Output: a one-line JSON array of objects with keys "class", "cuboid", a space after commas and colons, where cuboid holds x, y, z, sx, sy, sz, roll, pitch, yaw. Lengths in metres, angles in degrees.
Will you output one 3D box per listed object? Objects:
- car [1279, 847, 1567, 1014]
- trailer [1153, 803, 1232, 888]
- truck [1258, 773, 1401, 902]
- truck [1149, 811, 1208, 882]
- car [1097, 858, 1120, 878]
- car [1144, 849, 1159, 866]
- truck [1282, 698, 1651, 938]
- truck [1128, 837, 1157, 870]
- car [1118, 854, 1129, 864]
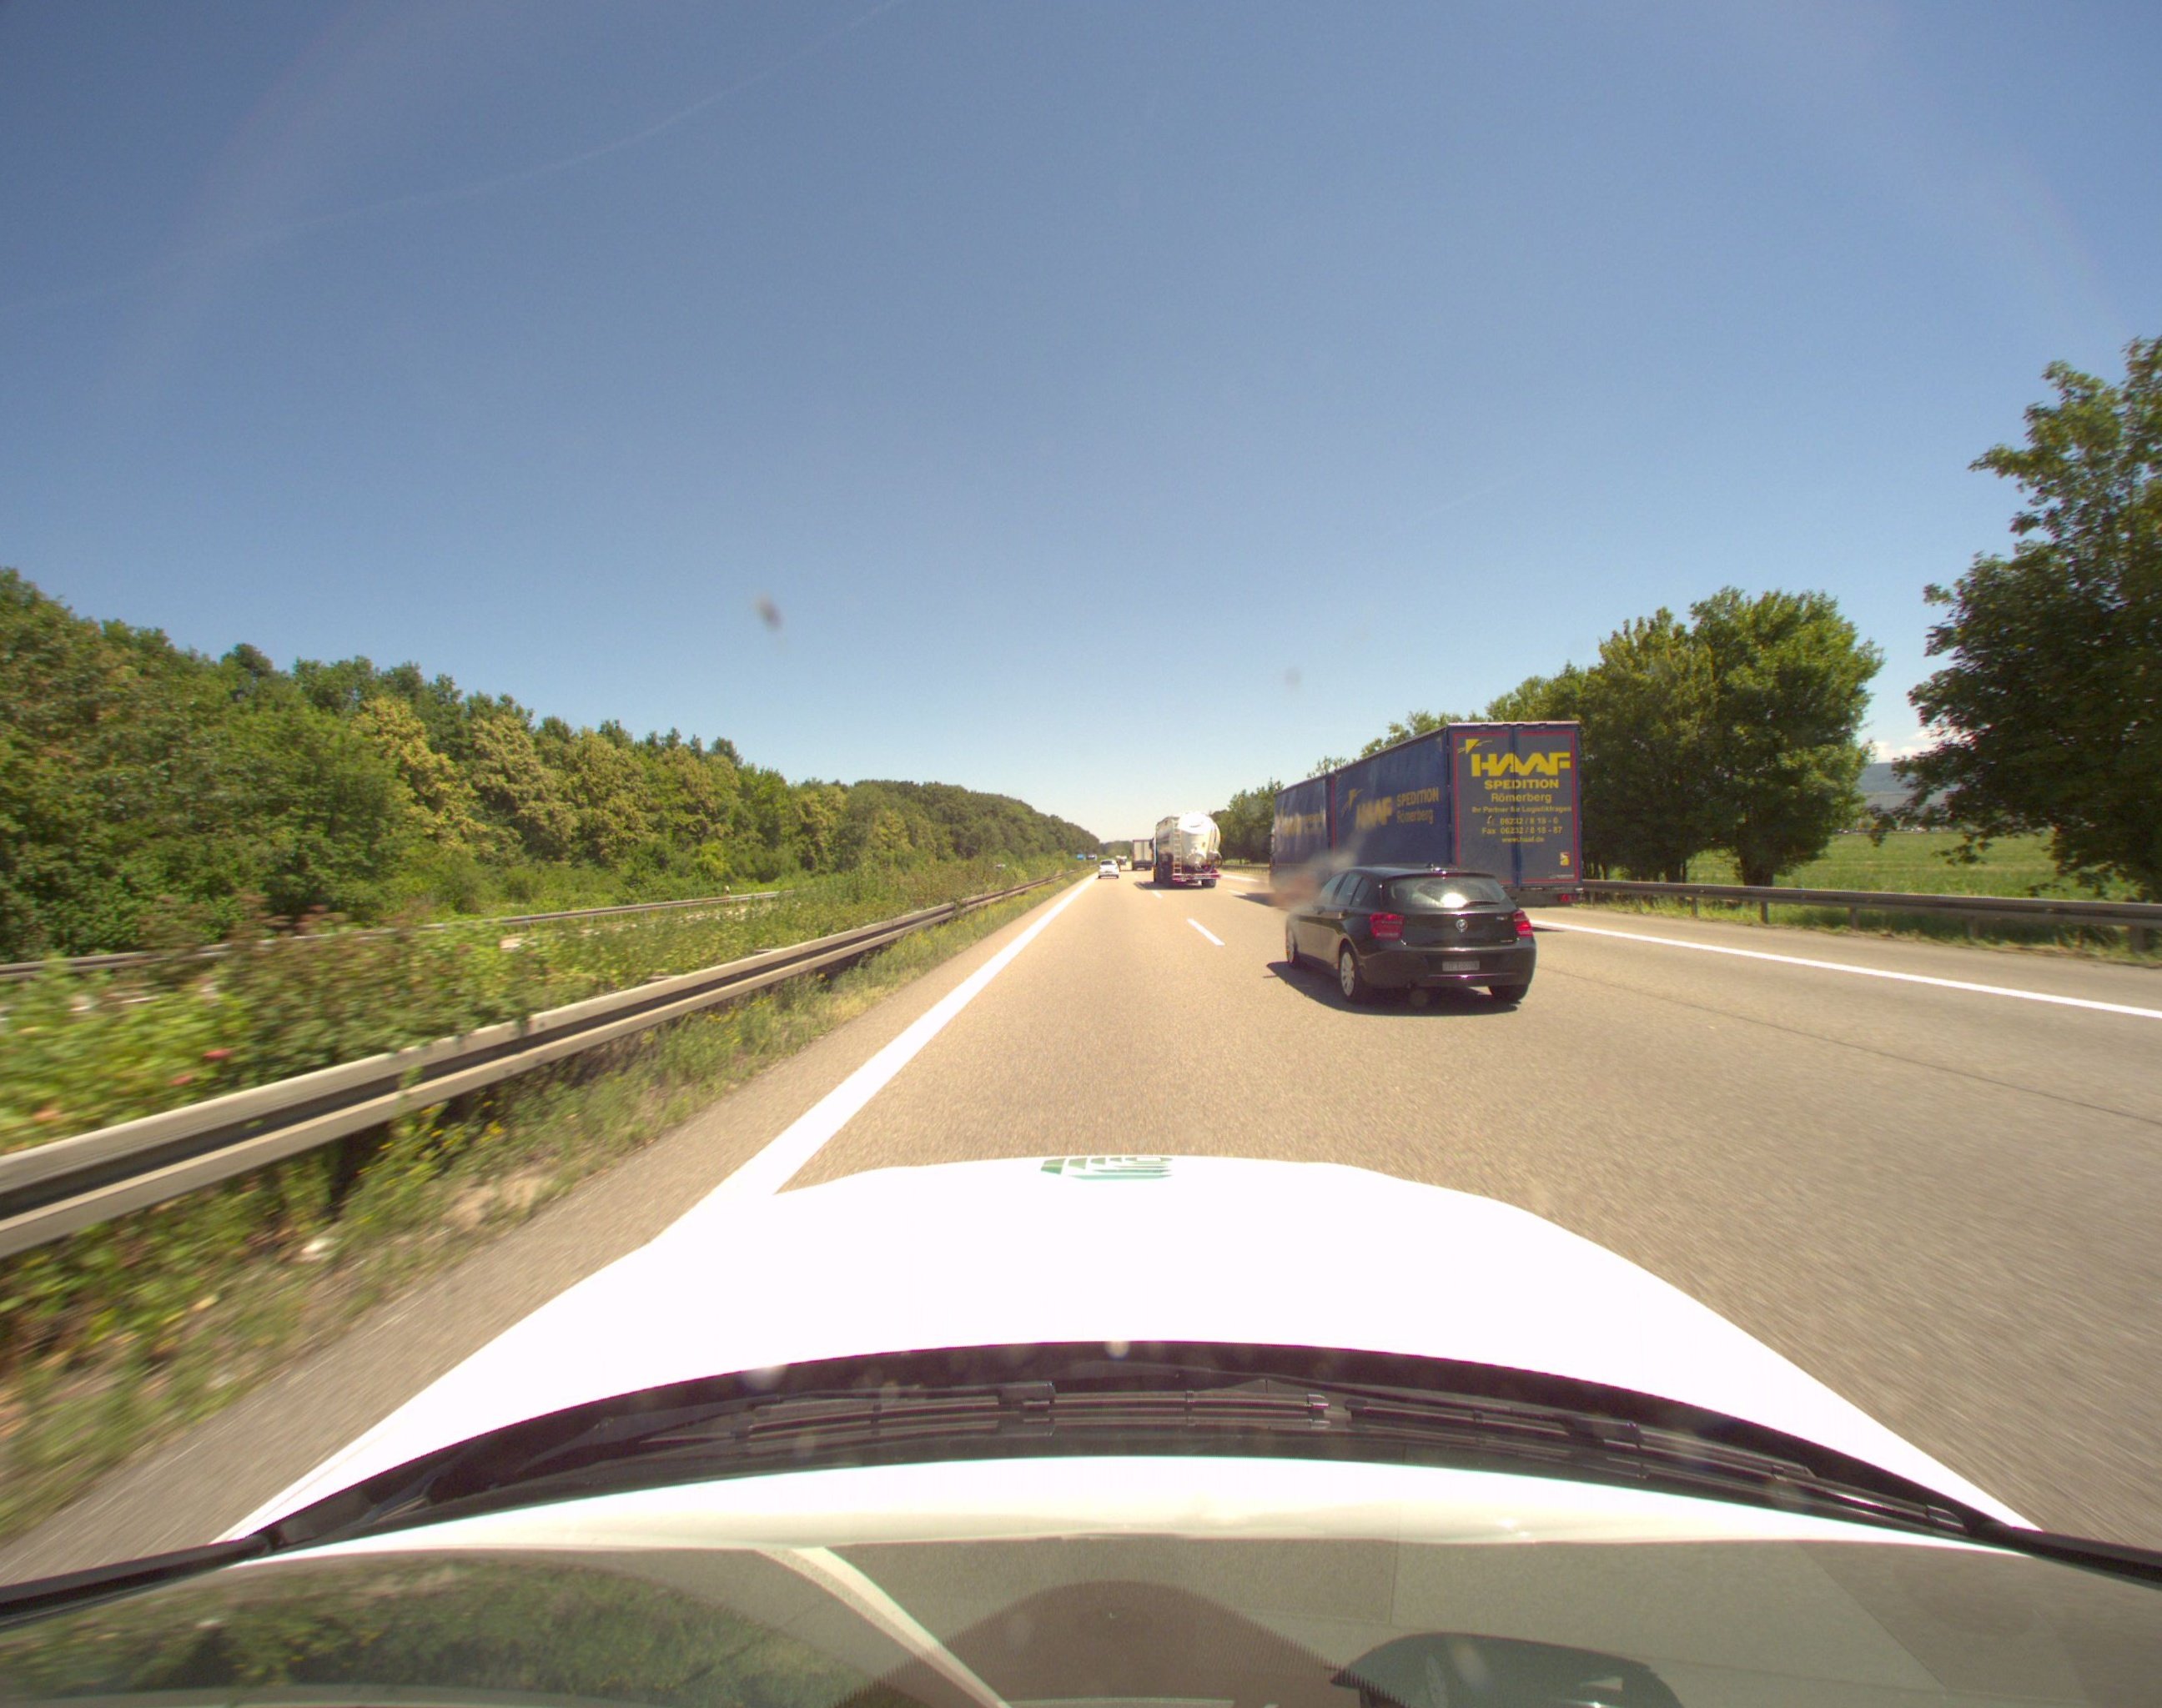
[{"class": "car", "cuboid": [3.626, 0.708, 9.472, 1.843, 1.523, 3.960, -1, 0, 3]}, {"class": "trailer", "cuboid": [5.886, -0.409, 45.328, 2.901, 4.069, 12.420, -1, 0, 1]}, {"class": "truck", "cuboid": [8.918, -0.520, 30.403, 3.097, 4.139, 8.060, -1, 0, 2]}, {"class": "truck", "cuboid": [6.002, -0.432, 51.172, 2.902, 4.079, 7.195, -1, 0, 0]}, {"class": "car", "cuboid": [2.212, 1.096, 66.131, 1.793, 1.552, 3.610, -1, 0, 0]}, {"class": "car", "cuboid": [13.751, 0.656, 158.769, 2.659, 3.189, 5.570, -1, 0, 2]}, {"class": "truck", "cuboid": [8.591, -0.620, 21.881, 3.097, 4.139, 15.519, -1, 0, 2]}, {"class": "truck", "cuboid": [8.264, -0.070, 110.216, 3.381, 4.214, 12.089, -1, 0, 2]}, {"class": "car", "cuboid": [10.281, 1.311, 198.407, 2.465, 2.354, 5.184, -1, 0, 2]}]
